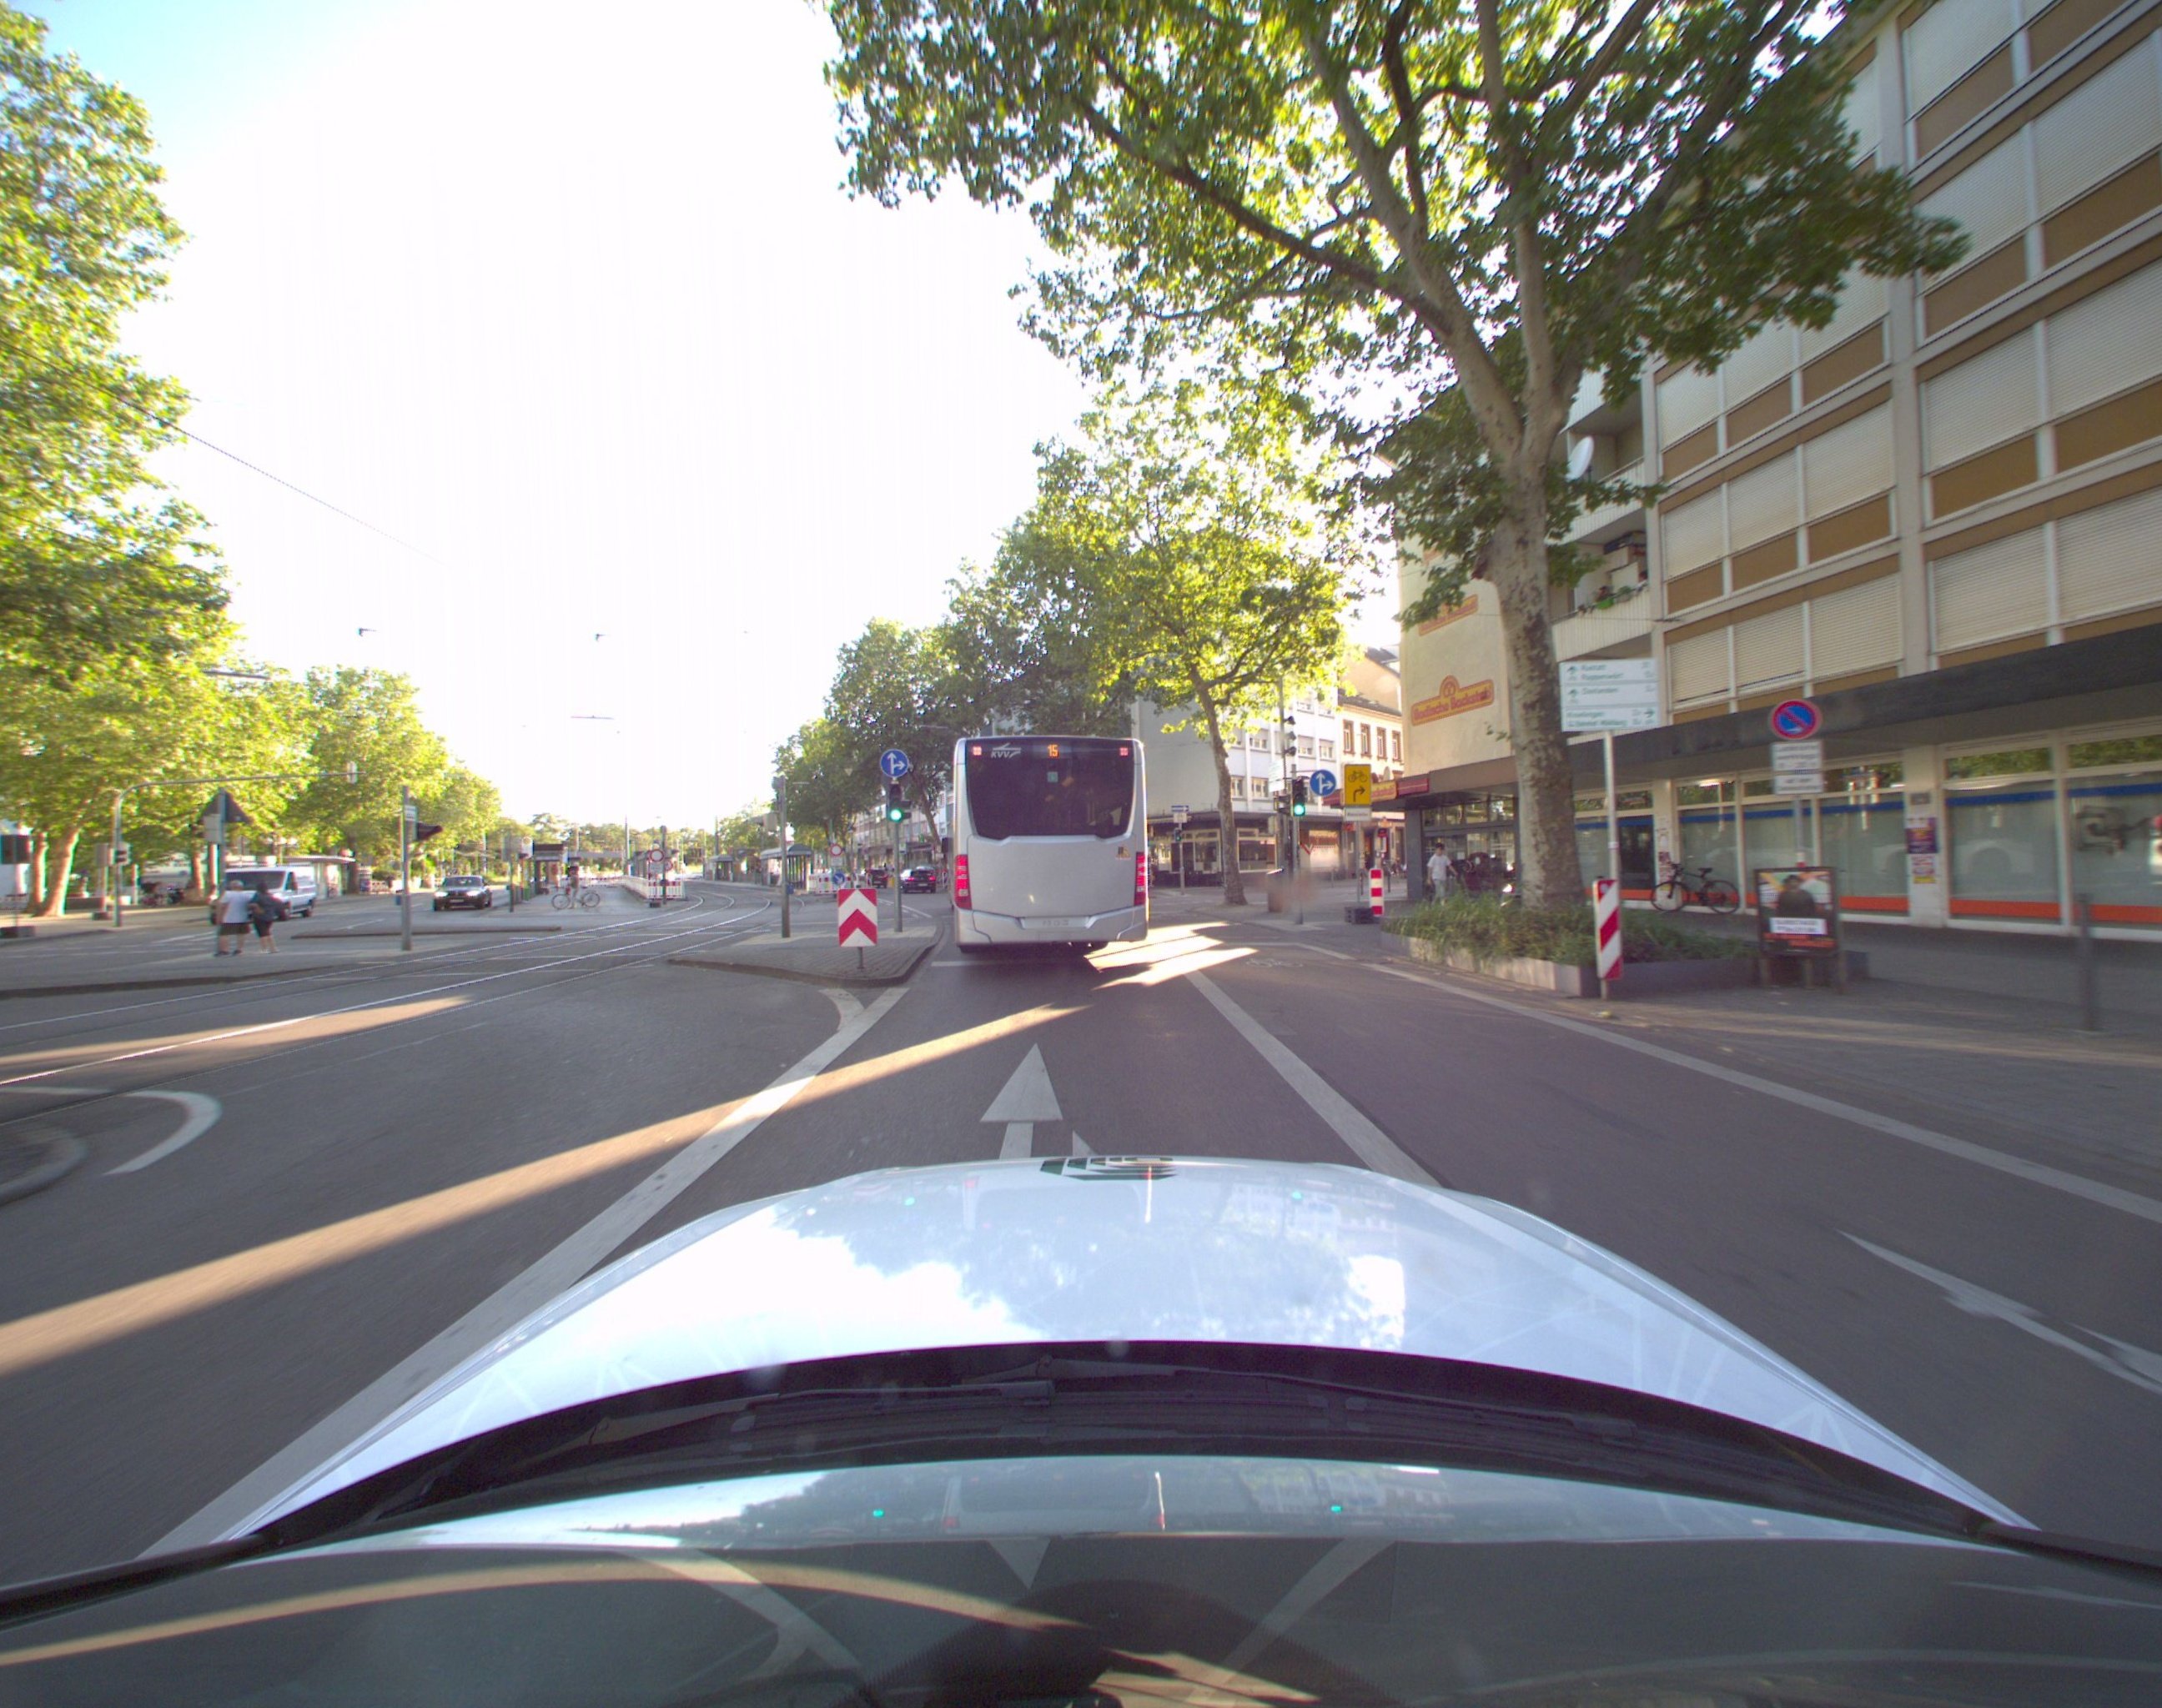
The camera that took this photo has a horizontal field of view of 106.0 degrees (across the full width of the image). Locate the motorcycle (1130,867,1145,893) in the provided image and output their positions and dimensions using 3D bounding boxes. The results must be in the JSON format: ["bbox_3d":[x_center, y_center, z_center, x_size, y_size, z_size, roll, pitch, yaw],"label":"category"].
[{"bbox_3d":[2.534,1.164,36.564,0.568,1.158,1.460,0,-1,-1],"label":"motorcycle"}]

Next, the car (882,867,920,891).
[{"bbox_3d":[-11.654,1.589,52.623,1.763,1.464,3.971,-1,-1,-22],"label":"car"}]

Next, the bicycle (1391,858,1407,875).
[{"bbox_3d":[22.180,0.889,56.848,0.291,1.040,1.729,-5,-1,45],"label":"bicycle"}]

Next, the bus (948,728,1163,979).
[{"bbox_3d":[-1.119,0.066,15.322,2.658,3.099,10.181,-1,-1,-10],"label":"bus"}]

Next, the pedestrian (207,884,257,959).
[{"bbox_3d":[-17.583,1.381,16.874,0.522,1.504,0.589,-1,-1,-24],"label":"pedestrian"}]

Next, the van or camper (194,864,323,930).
[{"bbox_3d":[-33.126,1.674,33.009,2.180,2.319,5.057,-3,0,-28],"label":"van or camper"}]

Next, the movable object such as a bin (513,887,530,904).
[{"bbox_3d":[-28.921,2.132,42.104,0.674,0.866,0.696,1,-1,-28],"label":"movable object such as a bin"}]

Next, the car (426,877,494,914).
[{"bbox_3d":[-29.433,1.911,38.732,1.897,1.585,4.168,-1,-1,-28],"label":"car"}]

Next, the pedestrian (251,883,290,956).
[{"bbox_3d":[-17.342,1.389,17.430,0.410,1.504,0.513,-1,-1,-24],"label":"pedestrian"}]

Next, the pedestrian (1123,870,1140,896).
[{"bbox_3d":[2.472,1.426,39.661,0.553,1.243,0.726,1,-1,-24],"label":"pedestrian"}]

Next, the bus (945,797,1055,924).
[{"bbox_3d":[-2.843,0.258,25.371,2.658,3.099,10.181,-1,-1,-10],"label":"bus"}]

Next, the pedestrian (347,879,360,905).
[{"bbox_3d":[-57.011,2.952,63.809,0.713,2.014,0.735,-1,-1,-38],"label":"pedestrian"}]

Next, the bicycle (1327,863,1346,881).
[{"bbox_3d":[15.840,1.101,50.520,0.291,1.041,1.728,-5,-4,45],"label":"bicycle"}]

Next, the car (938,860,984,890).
[{"bbox_3d":[-7.078,1.221,47.670,1.767,1.628,3.584,-1,-1,-23],"label":"car"}]

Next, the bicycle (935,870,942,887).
[{"bbox_3d":[-10.605,1.790,60.540,0.507,1.211,2.085,-1,-1,-11],"label":"bicycle"}]

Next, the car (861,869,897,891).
[{"bbox_3d":[-14.805,1.880,59.587,1.765,1.464,3.966,-1,-1,-25],"label":"car"}]

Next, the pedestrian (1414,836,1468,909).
[{"bbox_3d":[8.819,0.440,19.976,0.836,1.712,0.789,-3,0,-14],"label":"pedestrian"}]

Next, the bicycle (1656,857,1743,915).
[{"bbox_3d":[12.527,0.631,16.538,0.437,1.092,1.457,-4,0,-9],"label":"bicycle"}]

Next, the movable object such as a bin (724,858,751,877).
[{"bbox_3d":[-46.087,1.839,109.195,2.510,2.477,5.301,-1,-1,-32],"label":"movable object such as a bin"}]

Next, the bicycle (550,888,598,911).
[{"bbox_3d":[-23.499,2.096,37.759,1.853,0.942,0.459,-1,-1,-32],"label":"bicycle"}]

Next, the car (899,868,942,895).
[{"bbox_3d":[-9.356,1.583,47.227,1.763,1.464,3.971,-1,-1,-22],"label":"car"}]

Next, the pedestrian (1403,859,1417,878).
[{"bbox_3d":[21.484,0.967,53.241,0.550,1.243,0.730,0,-1,-9],"label":"pedestrian"}]

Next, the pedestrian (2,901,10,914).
[{"bbox_3d":[-88.449,4.375,67.003,0.383,1.072,0.395,-2,-1,40],"label":"pedestrian"}]

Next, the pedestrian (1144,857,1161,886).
[{"bbox_3d":[3.891,0.962,44.248,0.607,1.548,0.707,1,-1,-43],"label":"pedestrian"}]

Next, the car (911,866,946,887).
[{"bbox_3d":[-11.975,1.719,63.921,1.672,1.468,3.381,-5,1,-28],"label":"car"}]

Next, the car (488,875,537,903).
[{"bbox_3d":[-33.951,2.051,48.732,1.897,1.531,4.168,-1,-1,-28],"label":"car"}]

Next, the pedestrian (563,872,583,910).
[{"bbox_3d":[-23.306,1.687,37.358,0.725,1.725,0.395,-1,-1,-32],"label":"pedestrian"}]
